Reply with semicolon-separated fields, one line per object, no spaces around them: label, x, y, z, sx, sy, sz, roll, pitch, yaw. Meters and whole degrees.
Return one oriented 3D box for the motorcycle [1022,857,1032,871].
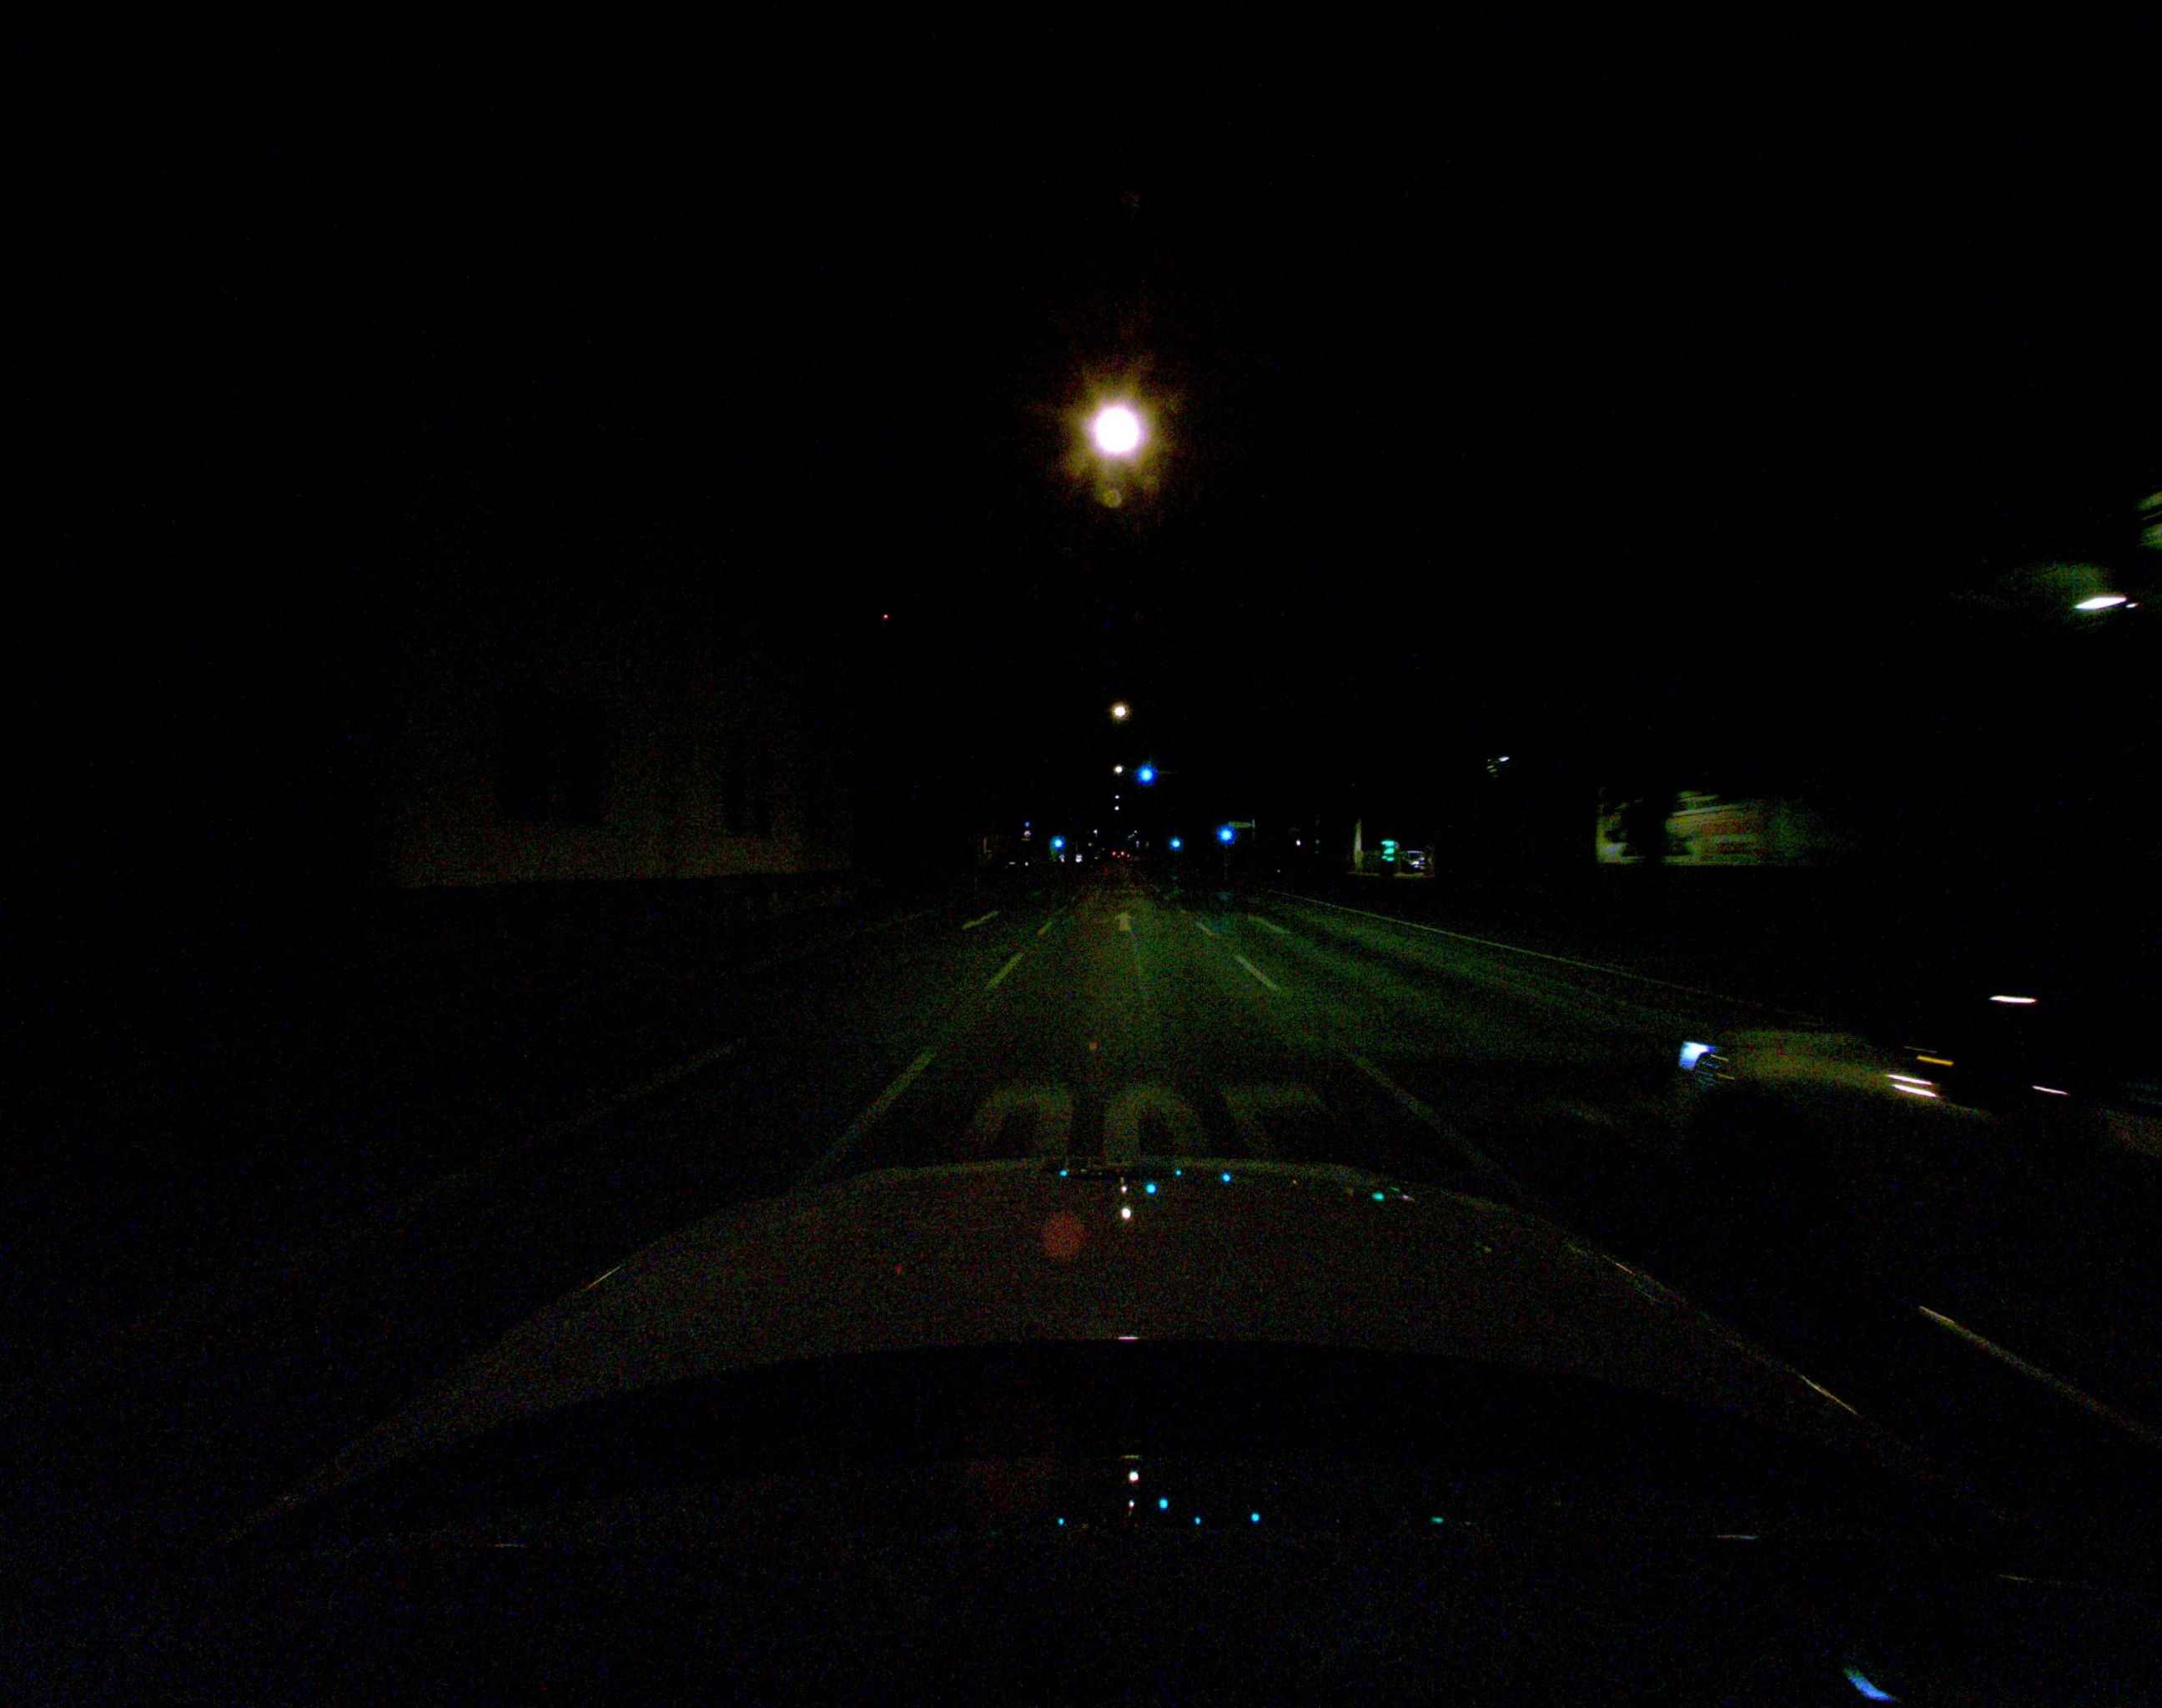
motorcycle;-4.758;0.906;71.600;0.572;1.179;2.022;0;0;-15

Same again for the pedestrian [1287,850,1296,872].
pedestrian;17.586;0.552;68.108;0.619;1.811;0.760;0;0;2

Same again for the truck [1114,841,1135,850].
truck;13.716;-2.746;257.406;6.756;2.844;1.999;0;0;-1

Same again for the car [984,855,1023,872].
car;-7.151;0.866;74.890;1.898;1.424;4.685;-1;0;-29

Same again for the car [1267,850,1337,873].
car;14.151;0.479;52.344;4.066;1.454;1.787;-1;0;1

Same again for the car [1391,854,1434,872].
car;21.851;0.611;53.784;1.452;1.168;3.541;0;-1;2

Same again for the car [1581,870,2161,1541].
car;3.246;0.809;1.775;1.717;1.430;4.501;1;0;3

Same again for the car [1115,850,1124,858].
car;7.207;-0.018;152.313;1.656;1.342;3.628;-1;0;3

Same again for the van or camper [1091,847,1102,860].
van or camper;3.273;-0.010;169.746;2.150;2.535;6.229;-3;0;2

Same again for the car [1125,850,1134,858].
car;10.673;-0.011;179.890;1.876;1.603;4.112;-2;0;4
